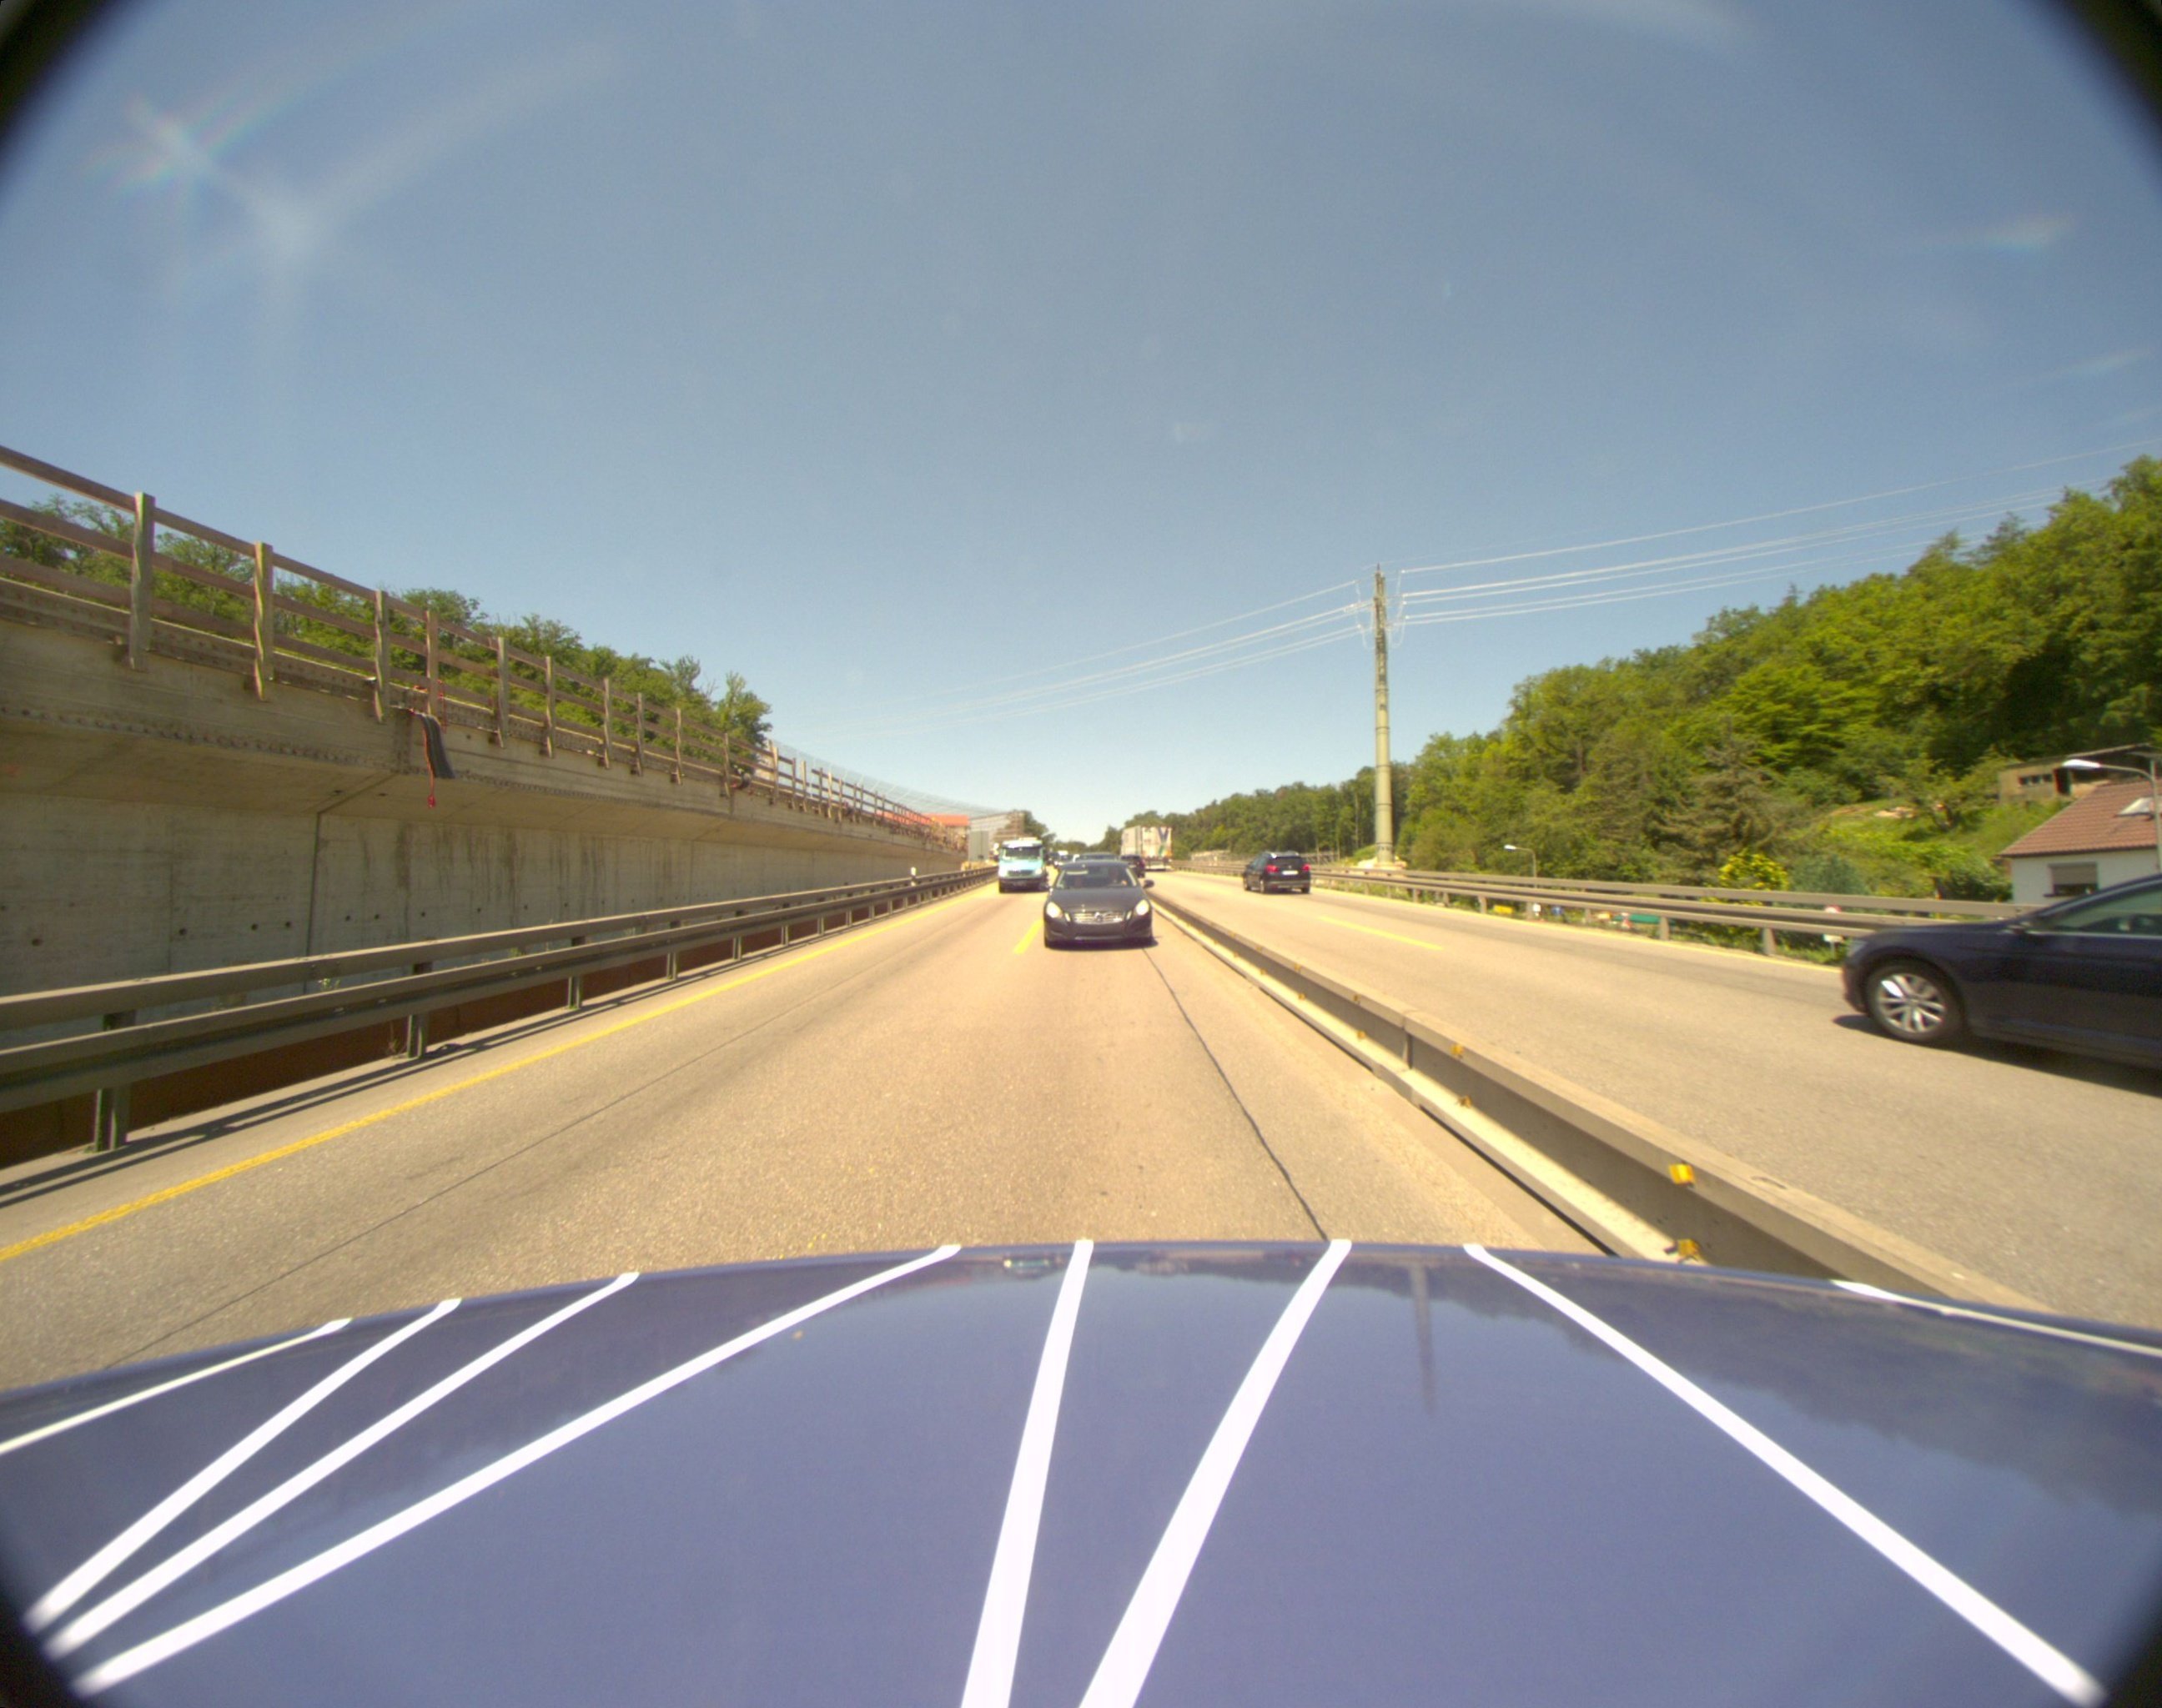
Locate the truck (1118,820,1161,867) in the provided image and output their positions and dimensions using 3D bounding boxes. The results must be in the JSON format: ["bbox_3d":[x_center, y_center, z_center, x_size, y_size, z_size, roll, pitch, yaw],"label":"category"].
[{"bbox_3d":[5.763,-1.061,76.675,3.312,4.337,8.298,-2,1,-2],"label":"truck"}]

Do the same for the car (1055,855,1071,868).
[{"bbox_3d":[-2.012,0.831,85.389,1.647,1.366,3.343,-2,1,-2],"label":"car"}]

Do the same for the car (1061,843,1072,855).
[{"bbox_3d":[-2.577,-0.877,134.470,1.999,1.999,4.856,-1,1,-1],"label":"car"}]

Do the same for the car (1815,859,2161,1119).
[{"bbox_3d":[6.990,0.784,3.953,1.846,1.410,4.686,0,1,1],"label":"car"}]

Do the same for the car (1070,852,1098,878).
[{"bbox_3d":[0.192,0.666,49.531,1.736,1.557,3.619,-2,1,0],"label":"car"}]

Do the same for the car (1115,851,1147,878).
[{"bbox_3d":[3.274,0.661,50.214,1.824,1.577,4.159,-4,1,1],"label":"car"}]

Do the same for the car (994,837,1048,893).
[{"bbox_3d":[-2.666,0.427,35.130,2.217,2.312,6.899,-1,1,-3],"label":"car"}]

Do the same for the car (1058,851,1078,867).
[{"bbox_3d":[-1.135,0.418,68.731,1.647,1.366,3.344,-2,1,1],"label":"car"}]

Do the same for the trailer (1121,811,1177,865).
[{"bbox_3d":[6.044,-1.440,70.273,3.261,4.353,14.053,-2,1,-2],"label":"trailer"}]

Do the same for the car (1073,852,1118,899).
[{"bbox_3d":[0.522,0.748,28.091,1.519,1.543,3.860,-1,1,1],"label":"car"}]

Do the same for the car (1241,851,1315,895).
[{"bbox_3d":[7.243,0.693,28.290,1.736,1.480,4.001,-1,-1,1],"label":"car"}]

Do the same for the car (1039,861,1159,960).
[{"bbox_3d":[0.178,0.899,14.114,1.844,1.475,4.561,-1,0,-3],"label":"car"}]

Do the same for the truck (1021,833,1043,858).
[{"bbox_3d":[-7.409,-1.254,113.323,2.472,3.464,9.861,-2,1,-7],"label":"truck"}]

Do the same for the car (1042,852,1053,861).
[{"bbox_3d":[-5.459,0.435,124.693,1.586,1.366,3.344,-2,1,1],"label":"car"}]

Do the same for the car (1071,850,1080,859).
[{"bbox_3d":[-1.299,0.149,171.176,1.999,1.999,4.856,-1,1,-1],"label":"car"}]
